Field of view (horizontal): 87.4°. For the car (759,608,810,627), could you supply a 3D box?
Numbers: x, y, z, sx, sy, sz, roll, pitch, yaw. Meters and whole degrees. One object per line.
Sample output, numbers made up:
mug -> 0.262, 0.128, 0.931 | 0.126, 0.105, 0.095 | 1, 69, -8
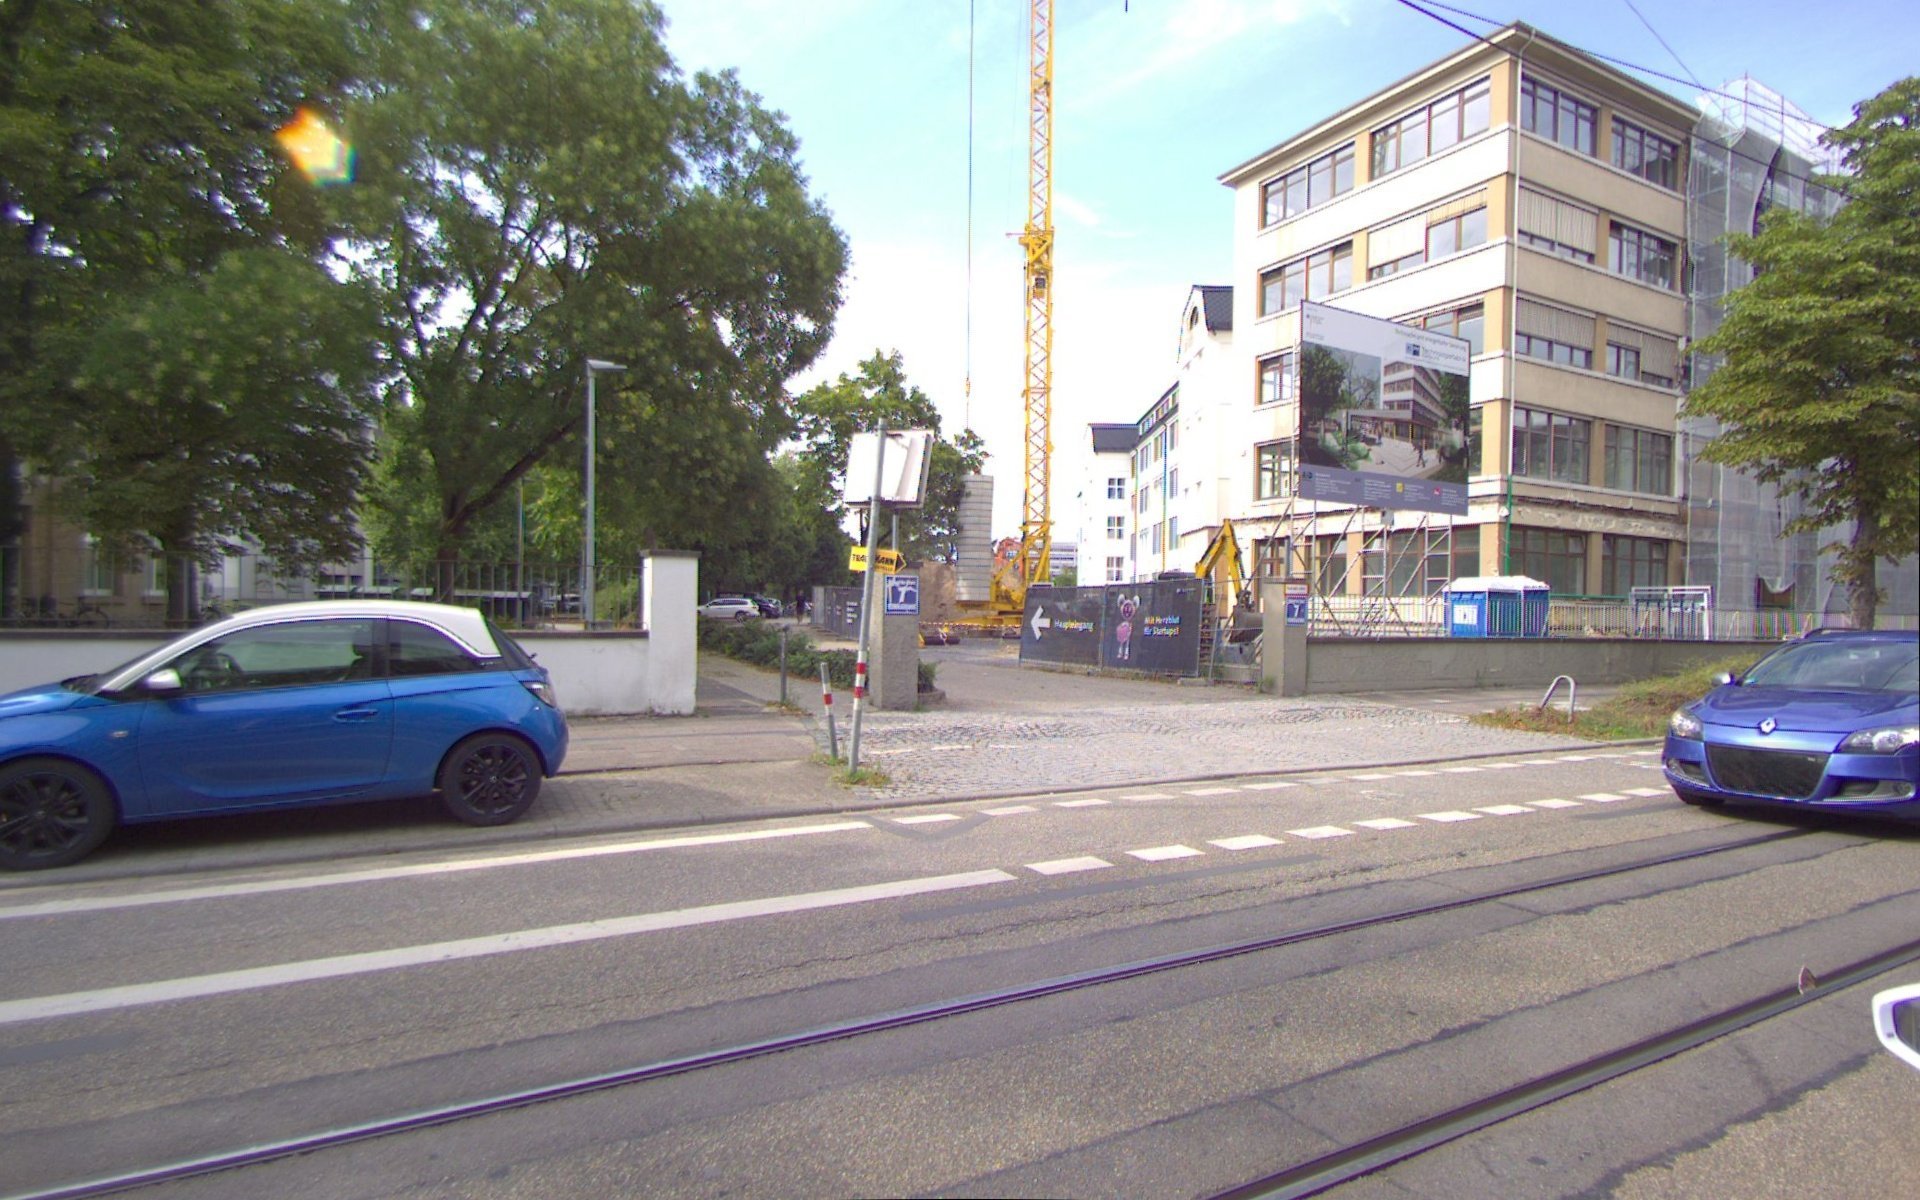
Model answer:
car -> -15.355, 1.499, 88.144 | 4.268, 1.564, 1.751 | 2, 0, -7

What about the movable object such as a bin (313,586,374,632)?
movable object such as a bin -> -20.210, 0.286, 32.954 | 1.259, 1.449, 1.122 | 2, 0, -1

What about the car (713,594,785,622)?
car -> -15.812, 0.590, 75.381 | 4.965, 1.979, 1.999 | 2, 0, -3

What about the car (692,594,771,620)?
car -> -14.515, 0.464, 64.083 | 4.719, 1.508, 1.998 | 2, 0, -7

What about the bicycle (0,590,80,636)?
bicycle -> -22.820, 0.316, 24.602 | 1.940, 1.057, 0.594 | 1, 1, -4

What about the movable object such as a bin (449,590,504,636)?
movable object such as a bin -> -15.935, 0.417, 33.123 | 1.259, 1.449, 1.122 | 2, 0, -1

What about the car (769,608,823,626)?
car -> -14.866, 1.508, 91.463 | 4.719, 1.508, 1.998 | 2, 0, -7

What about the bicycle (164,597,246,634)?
bicycle -> -22.927, 0.457, 30.522 | 1.940, 1.057, 0.594 | 1, 1, -4

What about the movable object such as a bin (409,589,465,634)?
movable object such as a bin -> -17.273, 0.377, 33.203 | 1.259, 1.449, 1.122 | 2, 0, -1

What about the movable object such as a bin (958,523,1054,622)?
movable object such as a bin -> 3.618, -1.848, 74.433 | 3.781, 6.758, 10.987 | 2, 0, 20

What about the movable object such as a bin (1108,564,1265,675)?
movable object such as a bin -> 5.405, 0.471, 24.373 | 2.459, 2.475, 3.048 | 2, 0, -19

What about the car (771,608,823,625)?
car -> -15.236, 1.525, 94.290 | 4.719, 1.508, 1.998 | 2, 0, -7

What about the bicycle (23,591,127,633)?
bicycle -> -23.213, 0.316, 26.387 | 1.953, 1.057, 0.590 | 1, 1, -28

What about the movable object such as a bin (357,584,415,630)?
movable object such as a bin -> -18.847, 0.237, 33.012 | 1.259, 1.449, 1.122 | 2, 0, -1

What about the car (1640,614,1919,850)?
car -> 7.707, 0.897, 8.331 | 4.326, 1.516, 1.724 | 1, -1, -30

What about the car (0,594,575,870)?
car -> -4.597, 0.737, 6.738 | 3.560, 1.484, 1.620 | 1, 0, -30

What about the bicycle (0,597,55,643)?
bicycle -> -22.738, 0.463, 23.822 | 1.940, 1.057, 0.594 | 1, 1, -4

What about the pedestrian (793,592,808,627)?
pedestrian -> -8.453, 0.492, 53.279 | 0.736, 1.813, 0.730 | 2, 0, -7

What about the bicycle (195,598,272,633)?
bicycle -> -23.040, 0.493, 31.877 | 1.940, 1.057, 0.594 | 1, 1, -4

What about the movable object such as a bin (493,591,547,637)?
movable object such as a bin -> -14.418, 0.452, 32.951 | 1.259, 1.449, 1.122 | 2, 0, -1
